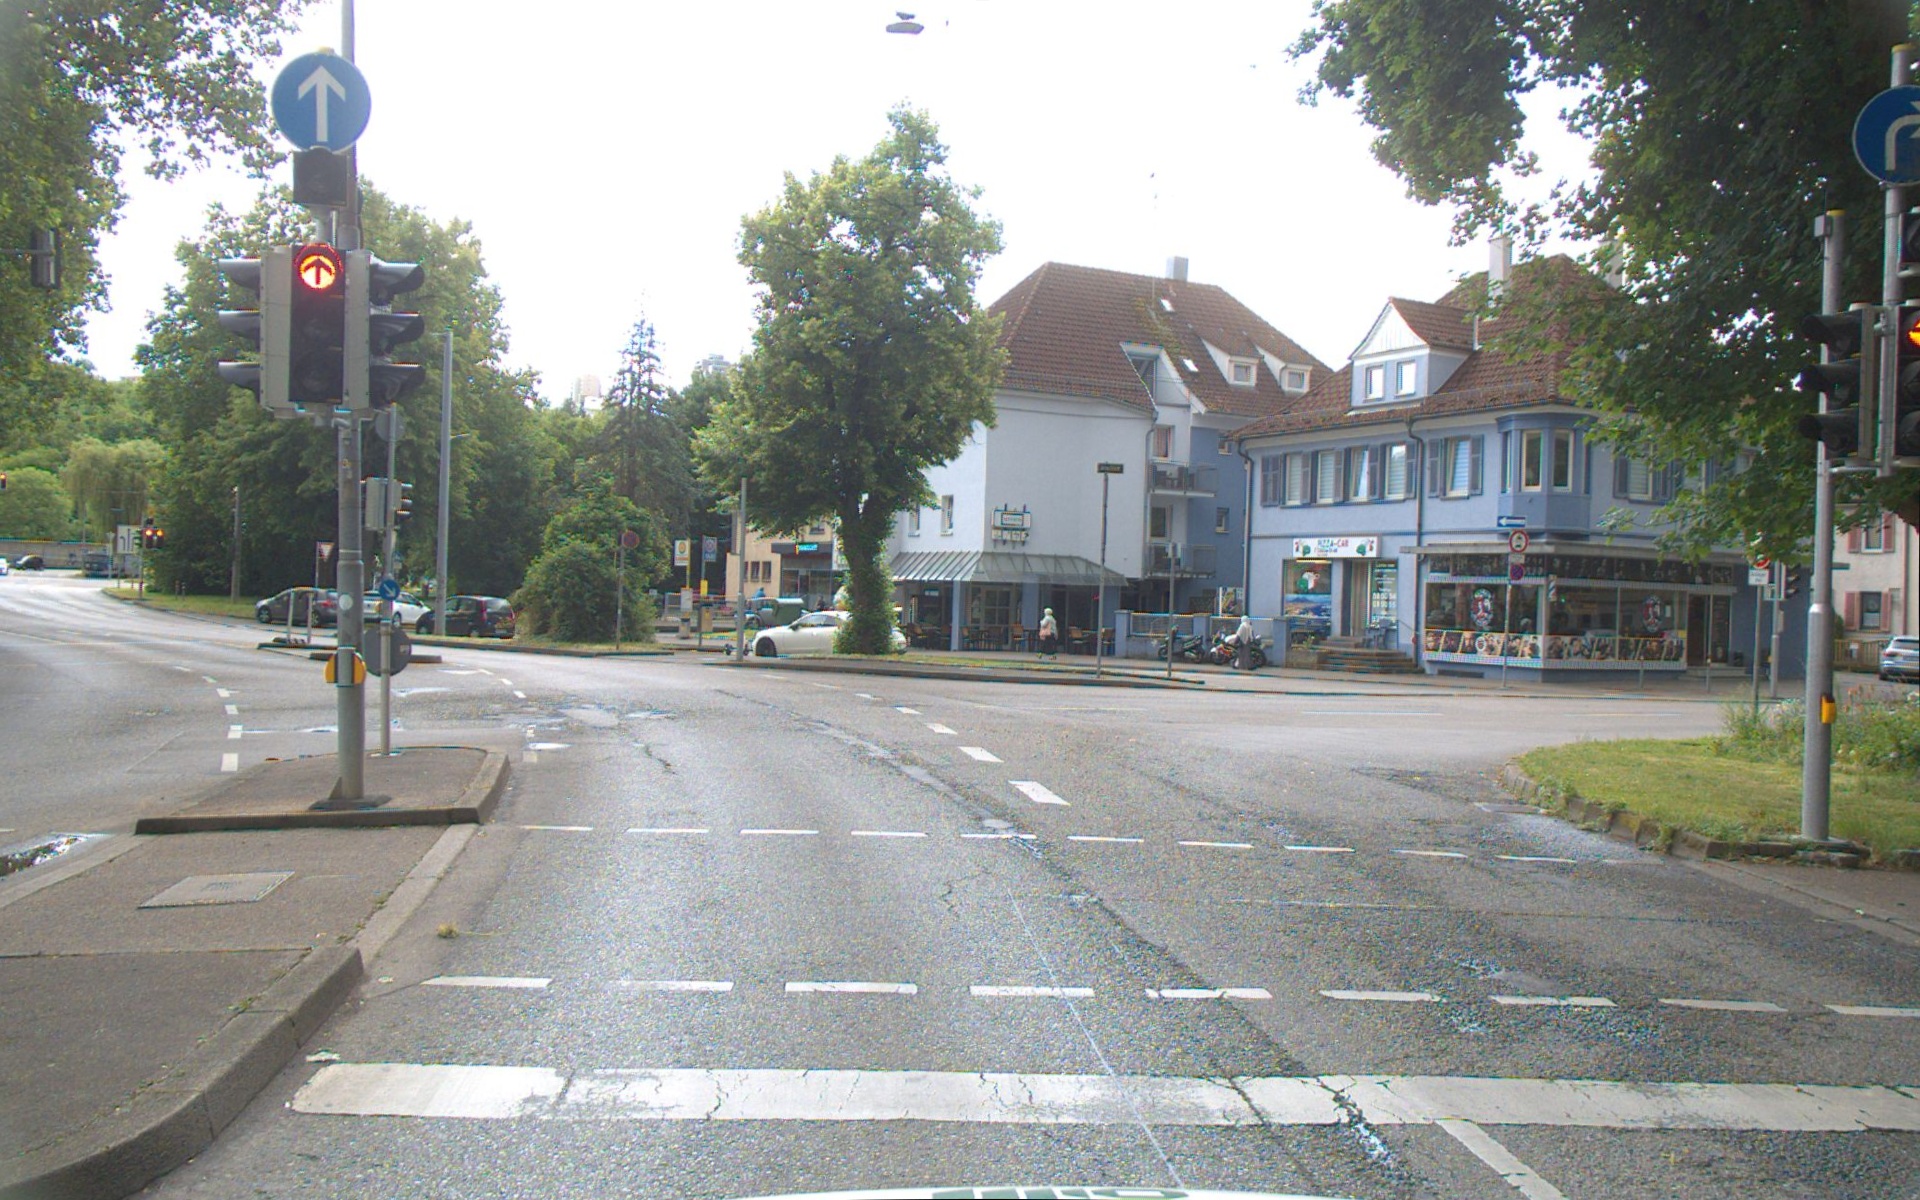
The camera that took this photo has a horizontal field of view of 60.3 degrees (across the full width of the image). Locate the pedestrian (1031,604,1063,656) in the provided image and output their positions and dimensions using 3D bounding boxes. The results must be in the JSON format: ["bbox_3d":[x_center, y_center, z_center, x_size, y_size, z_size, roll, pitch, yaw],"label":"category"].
[{"bbox_3d":[2.705,0.936,51.243,0.694,1.572,0.675,1,0,39],"label":"pedestrian"}]

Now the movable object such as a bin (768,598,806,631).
[{"bbox_3d":[-7.719,0.663,73.837,1.424,1.433,0.959,1,0,-27],"label":"movable object such as a bin"}]

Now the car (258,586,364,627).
[{"bbox_3d":[-24.859,0.249,63.389,3.469,1.490,1.586,1,0,12],"label":"car"}]

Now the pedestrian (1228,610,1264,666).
[{"bbox_3d":[8.116,1.076,46.981,0.754,1.572,0.675,1,-1,38],"label":"pedestrian"}]

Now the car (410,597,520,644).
[{"bbox_3d":[-16.006,0.663,53.457,3.519,1.418,1.468,1,0,32],"label":"car"}]

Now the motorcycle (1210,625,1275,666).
[{"bbox_3d":[8.274,1.315,48.477,1.765,1.141,0.692,1,0,38],"label":"motorcycle"}]

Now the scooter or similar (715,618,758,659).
[{"bbox_3d":[-5.729,0.986,42.537,0.408,1.029,1.567,1,0,20],"label":"scooter or similar"}]

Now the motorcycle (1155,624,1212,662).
[{"bbox_3d":[6.793,1.298,50.234,1.609,1.082,0.690,1,0,44],"label":"motorcycle"}]

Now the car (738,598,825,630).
[{"bbox_3d":[-8.159,0.647,75.728,3.690,1.368,1.421,1,0,-27],"label":"car"}]

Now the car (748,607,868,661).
[{"bbox_3d":[-4.243,0.921,45.954,3.110,1.378,1.435,1,0,34],"label":"car"}]

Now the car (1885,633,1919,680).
[{"bbox_3d":[29.853,1.743,51.412,1.471,1.393,3.164,1,0,38],"label":"car"}]

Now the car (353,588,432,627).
[{"bbox_3d":[-22.669,0.311,66.179,1.512,1.490,3.398,1,0,10],"label":"car"}]

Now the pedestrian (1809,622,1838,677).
[{"bbox_3d":[24.716,1.414,47.327,0.451,1.544,0.584,1,-1,-21],"label":"pedestrian"}]

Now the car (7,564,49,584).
[{"bbox_3d":[-102.223,-2.819,181.480,3.948,2.049,1.978,1,0,-32],"label":"car"}]

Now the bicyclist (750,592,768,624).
[{"bbox_3d":[-10.125,0.406,83.312,0.586,1.568,0.739,1,0,25],"label":"bicyclist"}]

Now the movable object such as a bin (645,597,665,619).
[{"bbox_3d":[-15.854,0.401,85.910,0.937,1.135,0.381,1,0,-22],"label":"movable object such as a bin"}]
